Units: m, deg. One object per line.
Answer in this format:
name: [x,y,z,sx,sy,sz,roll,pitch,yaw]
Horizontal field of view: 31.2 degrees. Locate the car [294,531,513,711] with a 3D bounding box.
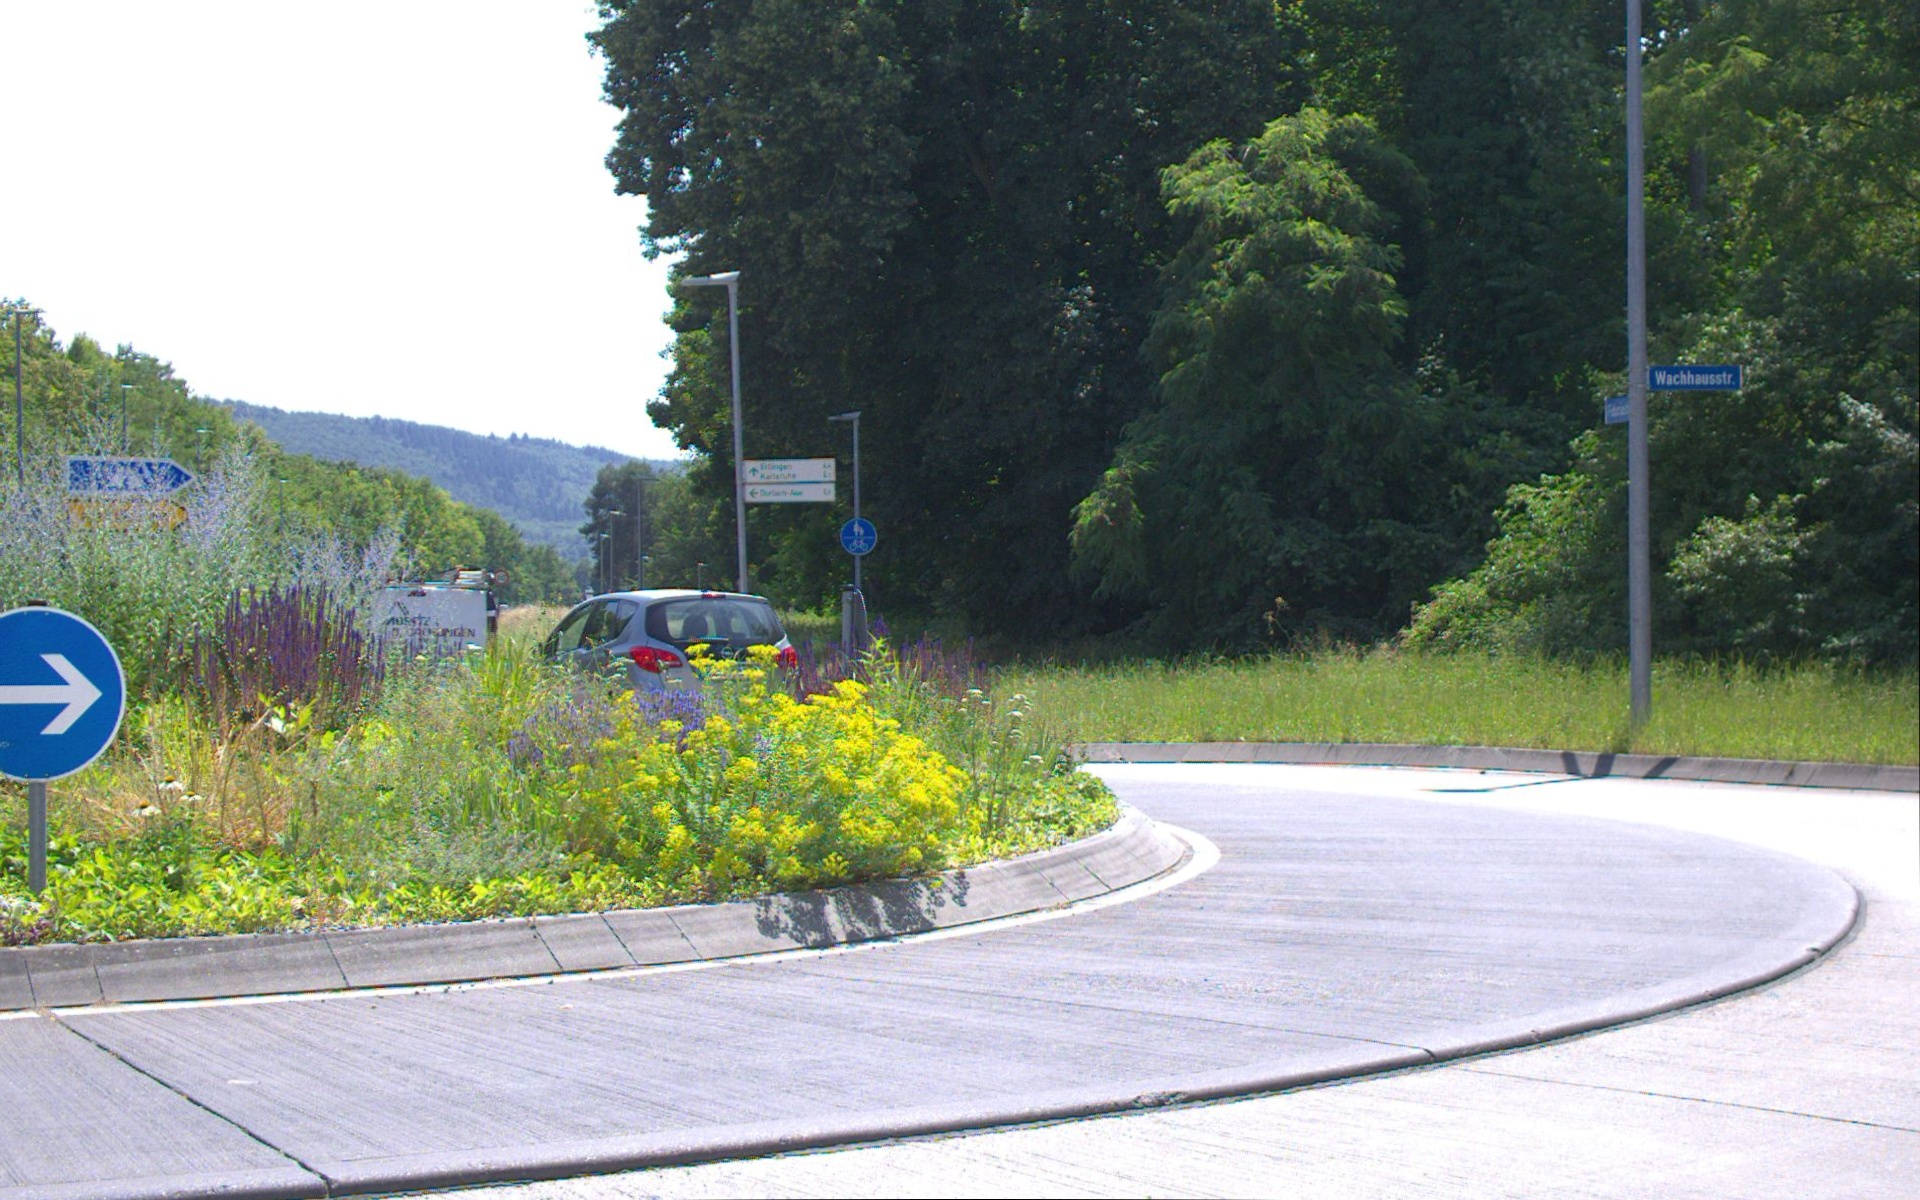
car: [-7.652,0.282,46.859,2.165,2.308,4.982,0,0,-18]

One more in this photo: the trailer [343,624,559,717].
trailer: [-6.400,0.861,42.960,2.121,1.094,3.355,0,0,-18]

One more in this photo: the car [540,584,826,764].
car: [-2.712,0.667,32.748,1.784,1.601,4.128,0,0,-18]
